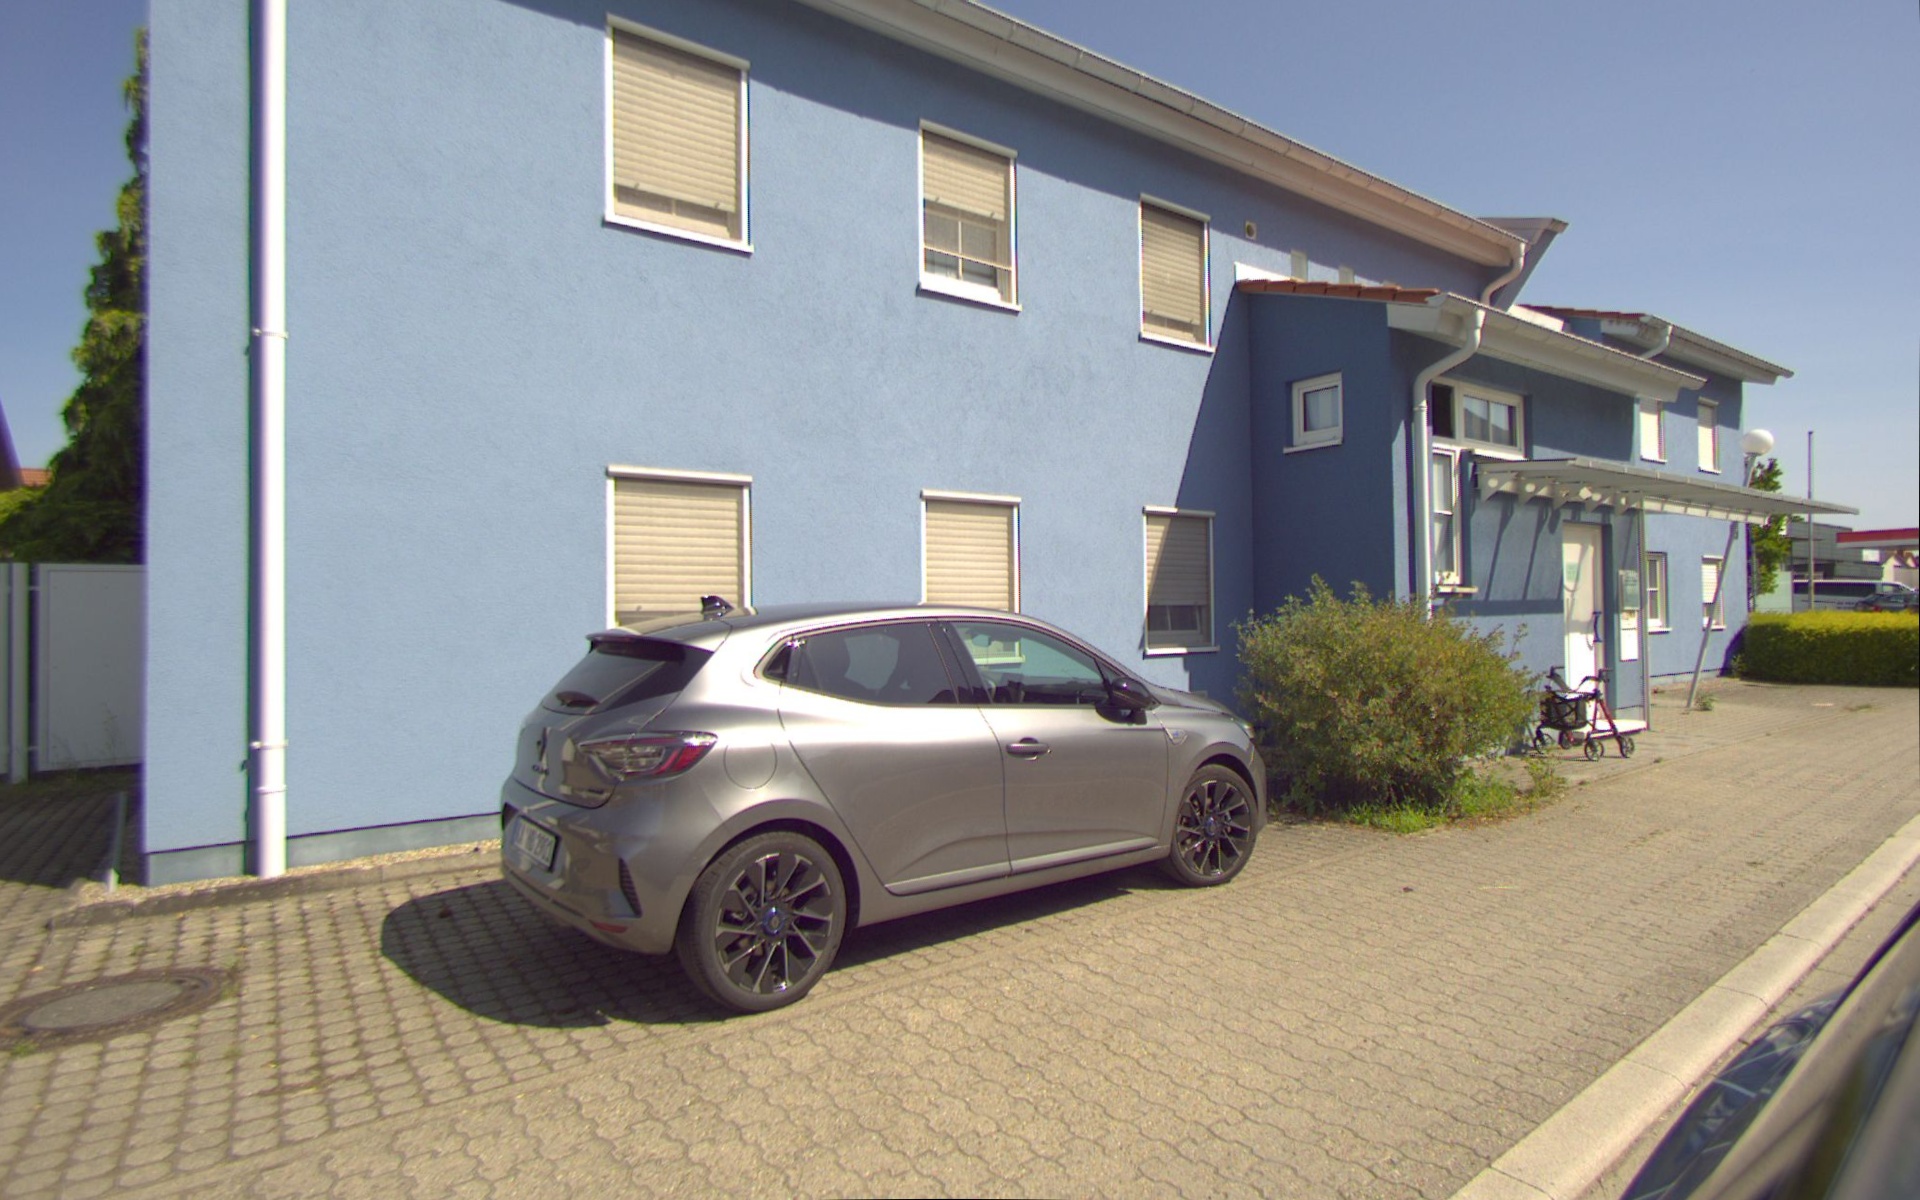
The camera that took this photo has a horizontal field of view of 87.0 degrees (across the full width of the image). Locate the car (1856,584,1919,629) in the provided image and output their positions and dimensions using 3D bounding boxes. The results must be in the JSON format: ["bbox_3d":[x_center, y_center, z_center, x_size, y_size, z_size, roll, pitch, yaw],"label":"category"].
[{"bbox_3d":[34.931,0.230,35.932,4.276,1.570,1.965,0,0,28],"label":"car"}]

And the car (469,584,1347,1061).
[{"bbox_3d":[-0.027,0.675,4.993,4.069,1.438,1.694,-1,-1,-37],"label":"car"}]

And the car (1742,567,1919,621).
[{"bbox_3d":[34.678,-0.211,40.548,5.257,2.039,2.201,0,0,38],"label":"car"}]

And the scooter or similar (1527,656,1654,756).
[{"bbox_3d":[5.904,0.968,9.488,0.811,0.825,0.730,-1,0,-33],"label":"scooter or similar"}]
